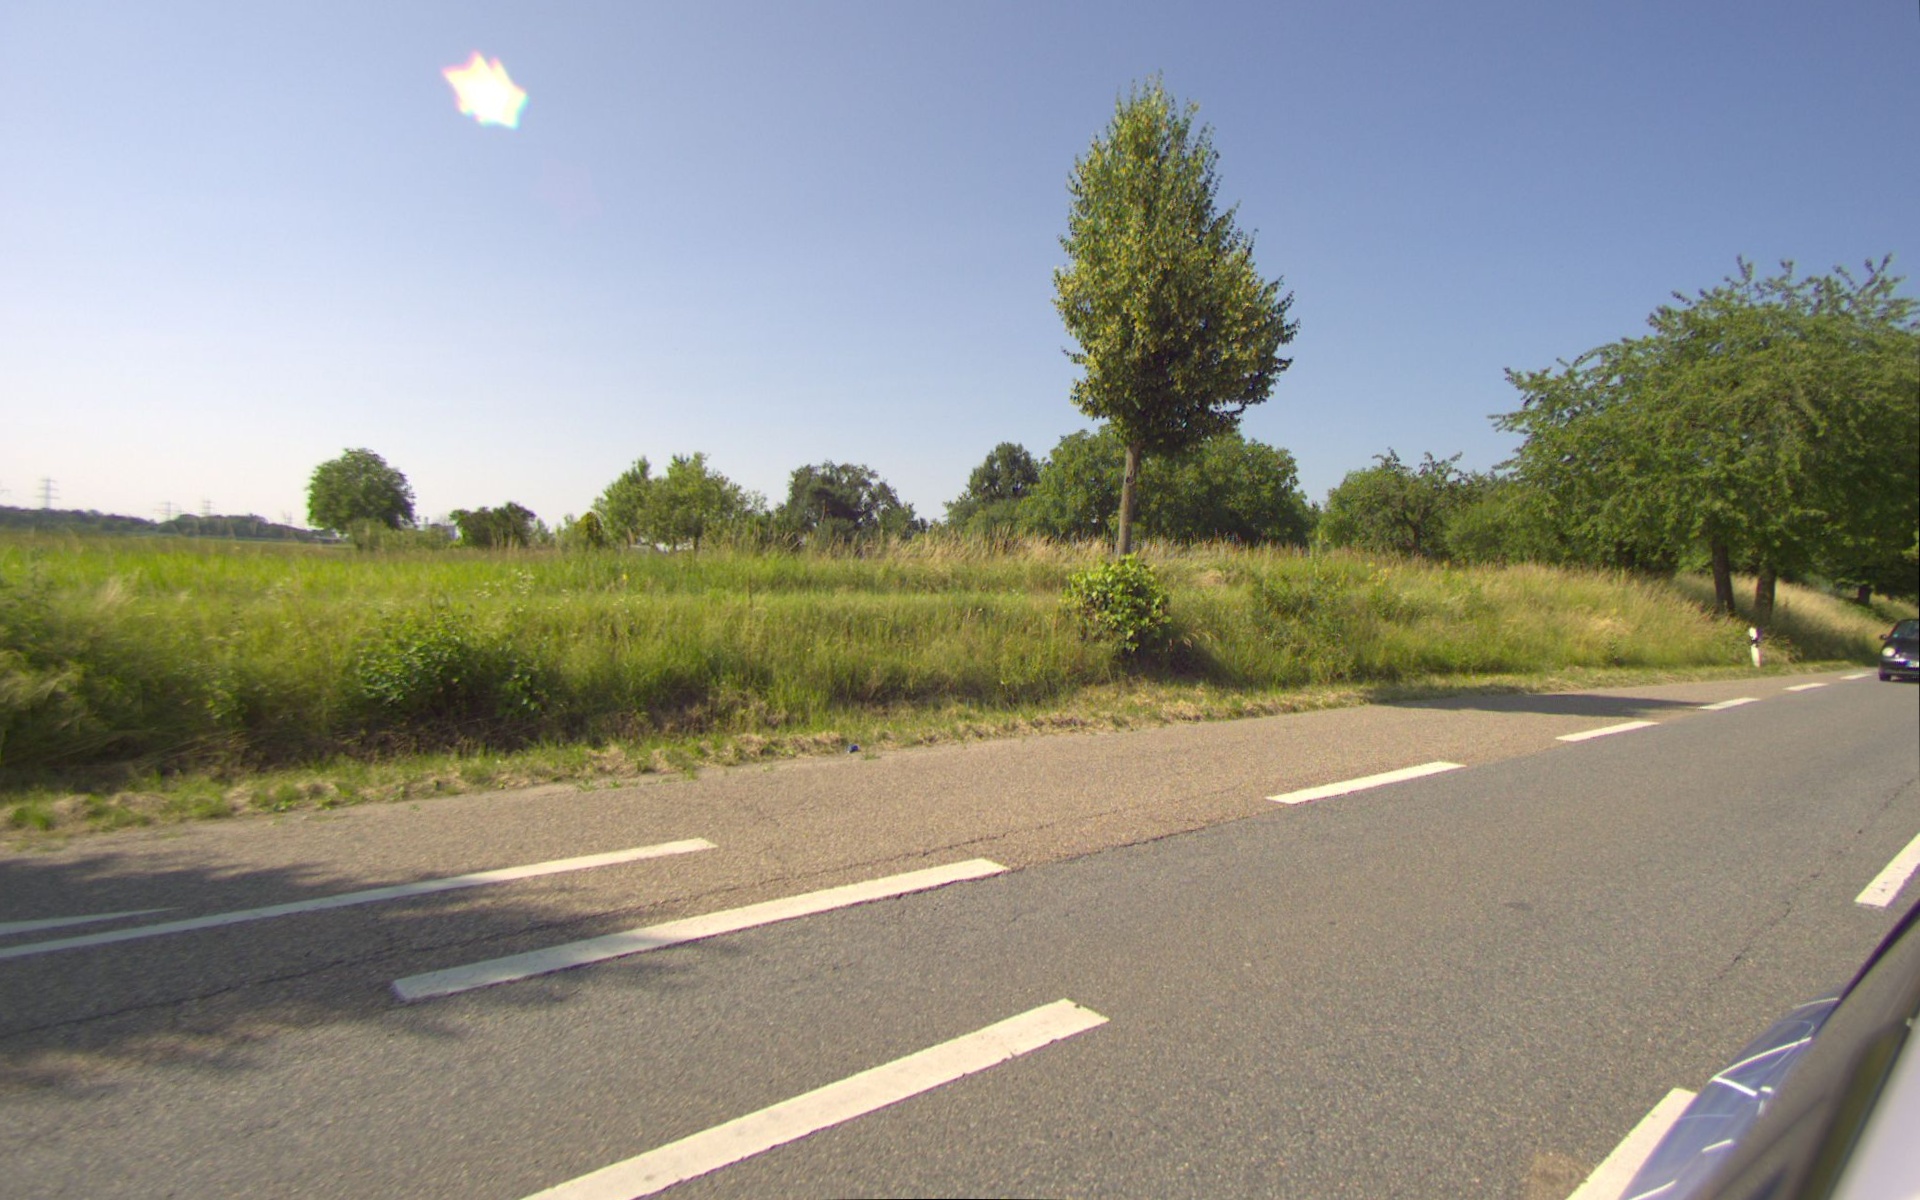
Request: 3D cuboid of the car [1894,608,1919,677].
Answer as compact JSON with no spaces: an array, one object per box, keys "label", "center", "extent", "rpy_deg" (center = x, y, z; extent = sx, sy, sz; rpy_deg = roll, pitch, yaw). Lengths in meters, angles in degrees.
[{"label":"car","center":[22.074,0.931,22.517],"extent":[3.561,1.451,1.627],"rpy_deg":[0,1,-43]}]
